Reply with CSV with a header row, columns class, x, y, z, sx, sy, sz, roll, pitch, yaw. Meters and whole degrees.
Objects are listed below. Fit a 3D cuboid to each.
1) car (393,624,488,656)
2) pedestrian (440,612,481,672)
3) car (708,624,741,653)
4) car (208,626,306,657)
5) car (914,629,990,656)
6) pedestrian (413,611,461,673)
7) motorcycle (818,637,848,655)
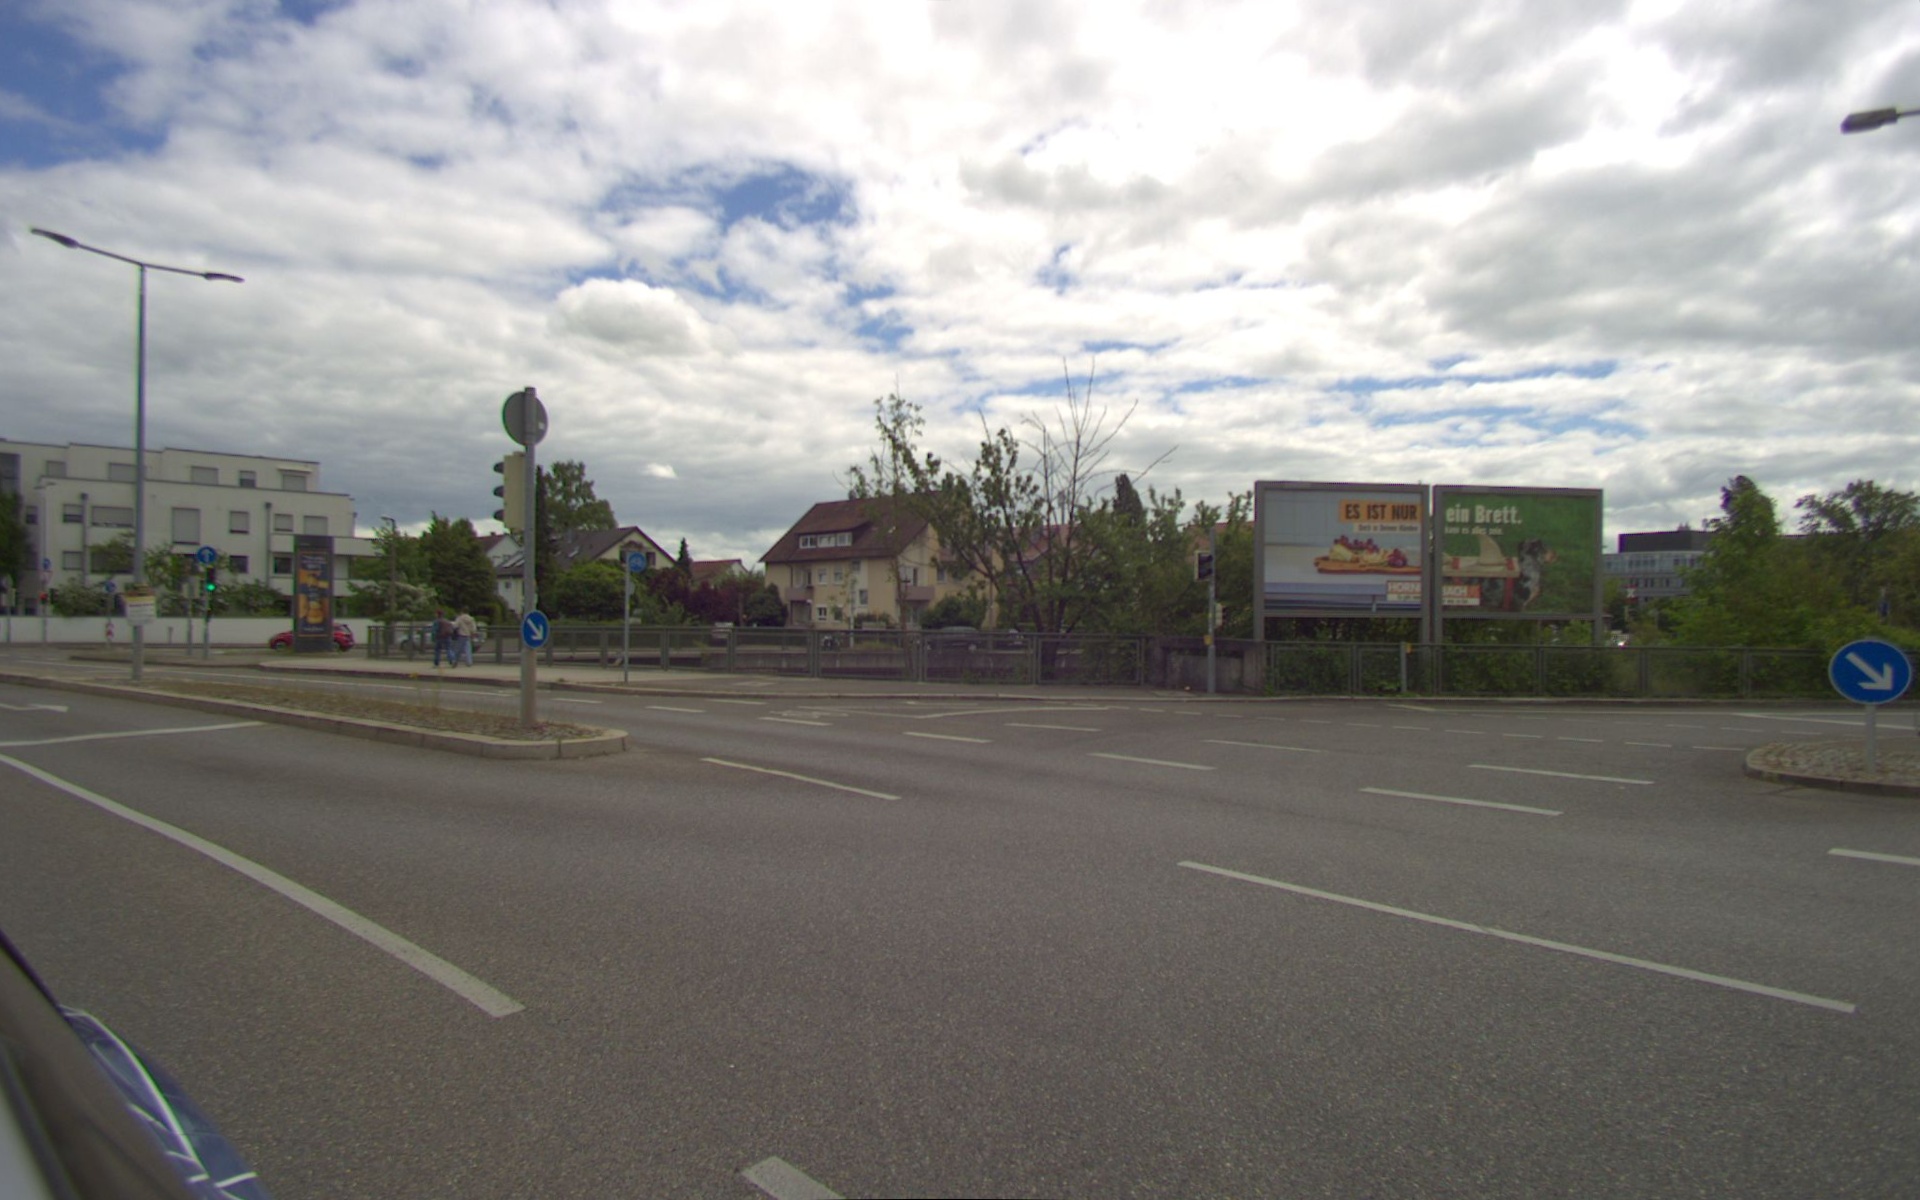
class,x,y,z,sx,sy,sz,roll,pitch,yaw
car,-27.110,2.099,52.924,4.062,1.547,1.651,2,-3,-12
pedestrian,-13.879,1.155,28.148,0.829,1.645,0.652,-1,0,27
car,-15.130,2.472,65.212,1.758,1.592,4.008,-2,1,-9
car,-35.536,2.098,51.272,3.641,1.458,1.780,2,-1,-14
car,-0.514,2.566,61.655,4.305,1.619,2.004,0,-1,-10
pedestrian,-14.230,1.141,27.538,1.065,1.645,0.652,-1,0,27
motorcycle,-7.594,2.759,60.470,0.691,1.007,2.126,6,-4,-38
